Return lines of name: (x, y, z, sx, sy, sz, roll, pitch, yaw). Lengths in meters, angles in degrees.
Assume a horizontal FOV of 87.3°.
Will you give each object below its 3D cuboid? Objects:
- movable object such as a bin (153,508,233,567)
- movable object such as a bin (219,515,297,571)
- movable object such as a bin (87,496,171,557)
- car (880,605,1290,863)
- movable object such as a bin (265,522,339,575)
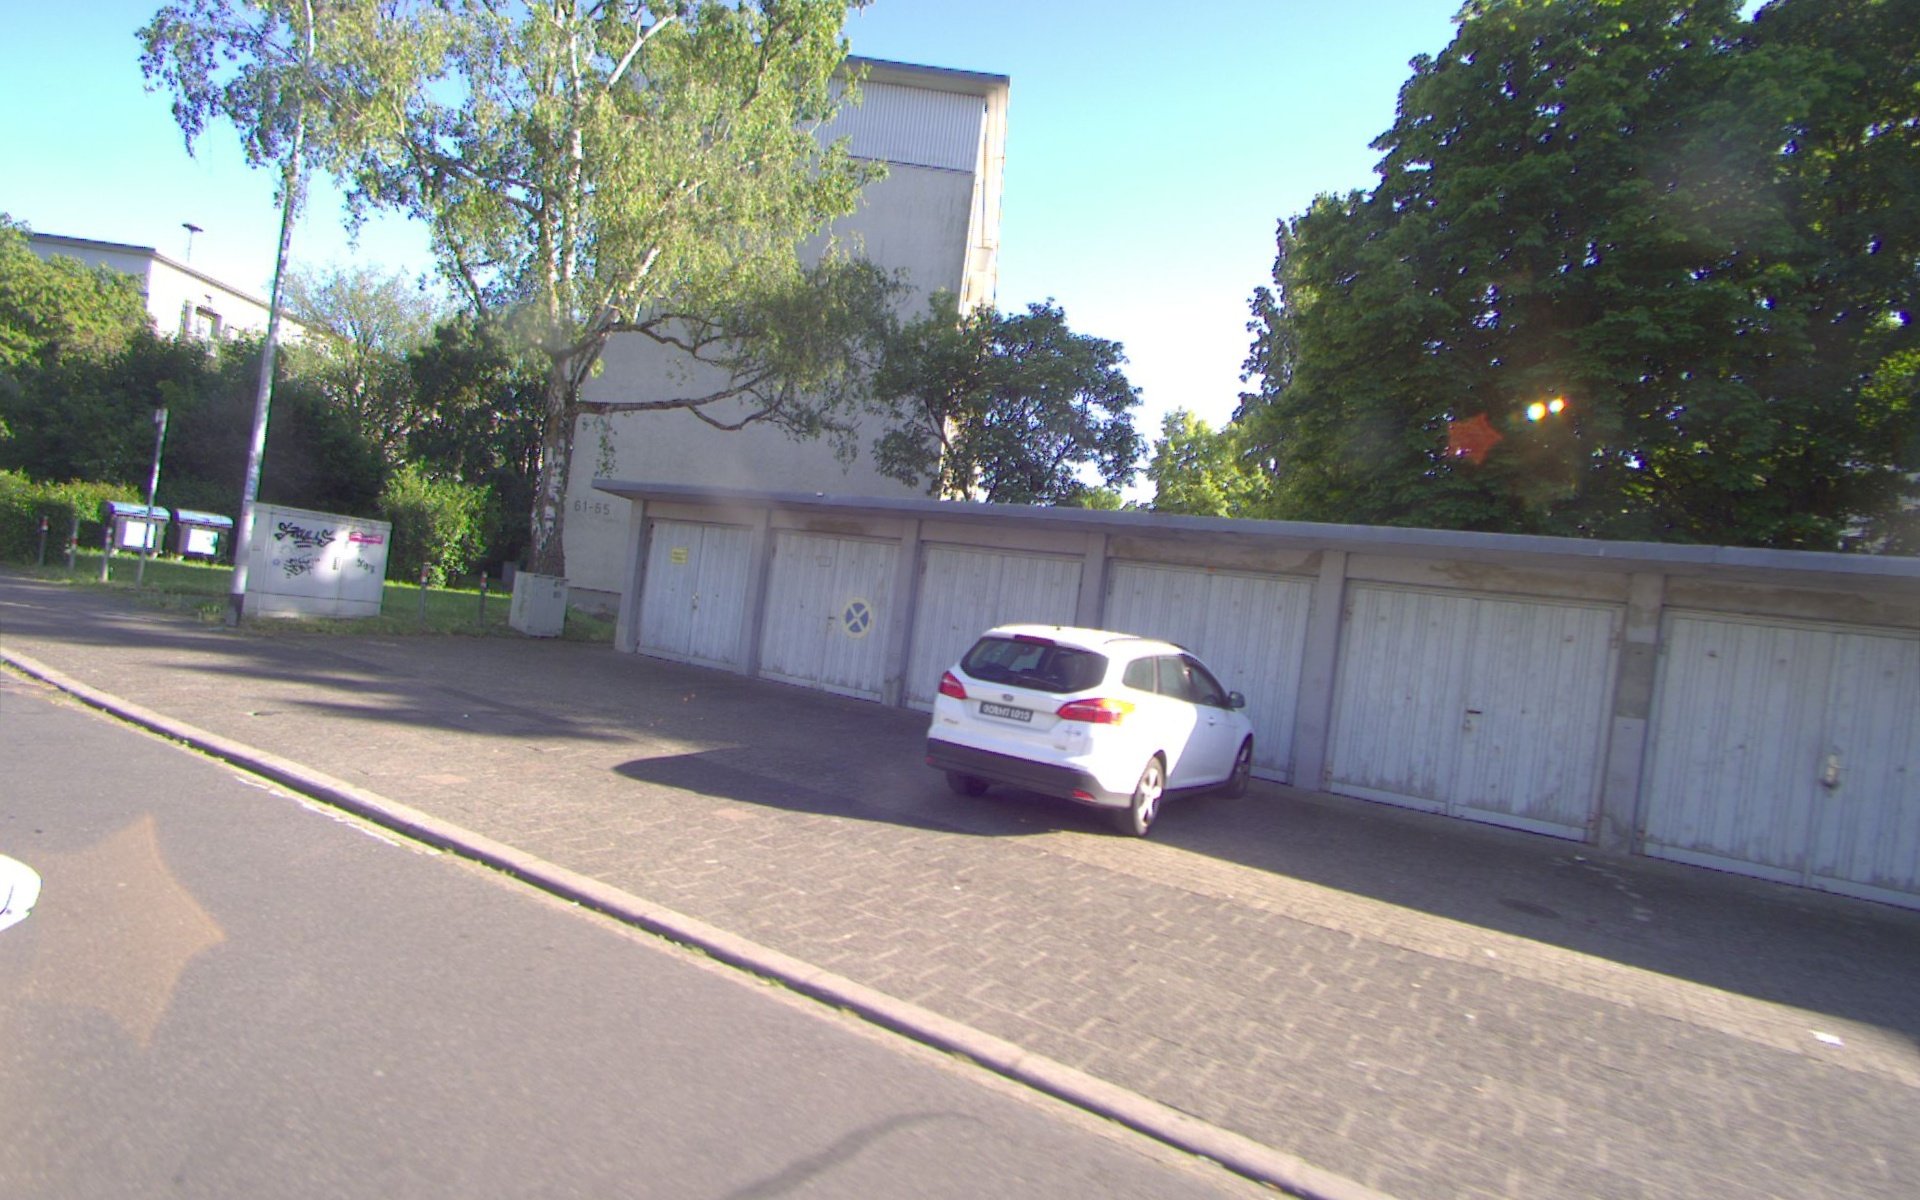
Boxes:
movable object such as a bin: (-21.204, -1.715, 27.821, 1.257, 1.369, 1.257, 7, -1, 31)
movable object such as a bin: (-20.499, -1.662, 29.397, 1.256, 1.369, 1.259, 7, -1, 24)
movable object such as a bin: (-22.080, -1.949, 26.739, 1.257, 1.369, 1.257, 7, -1, 31)
car: (1.400, 1.051, 9.030, 1.799, 1.532, 4.419, 7, 0, 32)
movable object such as a bin: (-20.188, -1.576, 30.887, 1.255, 1.369, 1.259, 7, -1, 22)
